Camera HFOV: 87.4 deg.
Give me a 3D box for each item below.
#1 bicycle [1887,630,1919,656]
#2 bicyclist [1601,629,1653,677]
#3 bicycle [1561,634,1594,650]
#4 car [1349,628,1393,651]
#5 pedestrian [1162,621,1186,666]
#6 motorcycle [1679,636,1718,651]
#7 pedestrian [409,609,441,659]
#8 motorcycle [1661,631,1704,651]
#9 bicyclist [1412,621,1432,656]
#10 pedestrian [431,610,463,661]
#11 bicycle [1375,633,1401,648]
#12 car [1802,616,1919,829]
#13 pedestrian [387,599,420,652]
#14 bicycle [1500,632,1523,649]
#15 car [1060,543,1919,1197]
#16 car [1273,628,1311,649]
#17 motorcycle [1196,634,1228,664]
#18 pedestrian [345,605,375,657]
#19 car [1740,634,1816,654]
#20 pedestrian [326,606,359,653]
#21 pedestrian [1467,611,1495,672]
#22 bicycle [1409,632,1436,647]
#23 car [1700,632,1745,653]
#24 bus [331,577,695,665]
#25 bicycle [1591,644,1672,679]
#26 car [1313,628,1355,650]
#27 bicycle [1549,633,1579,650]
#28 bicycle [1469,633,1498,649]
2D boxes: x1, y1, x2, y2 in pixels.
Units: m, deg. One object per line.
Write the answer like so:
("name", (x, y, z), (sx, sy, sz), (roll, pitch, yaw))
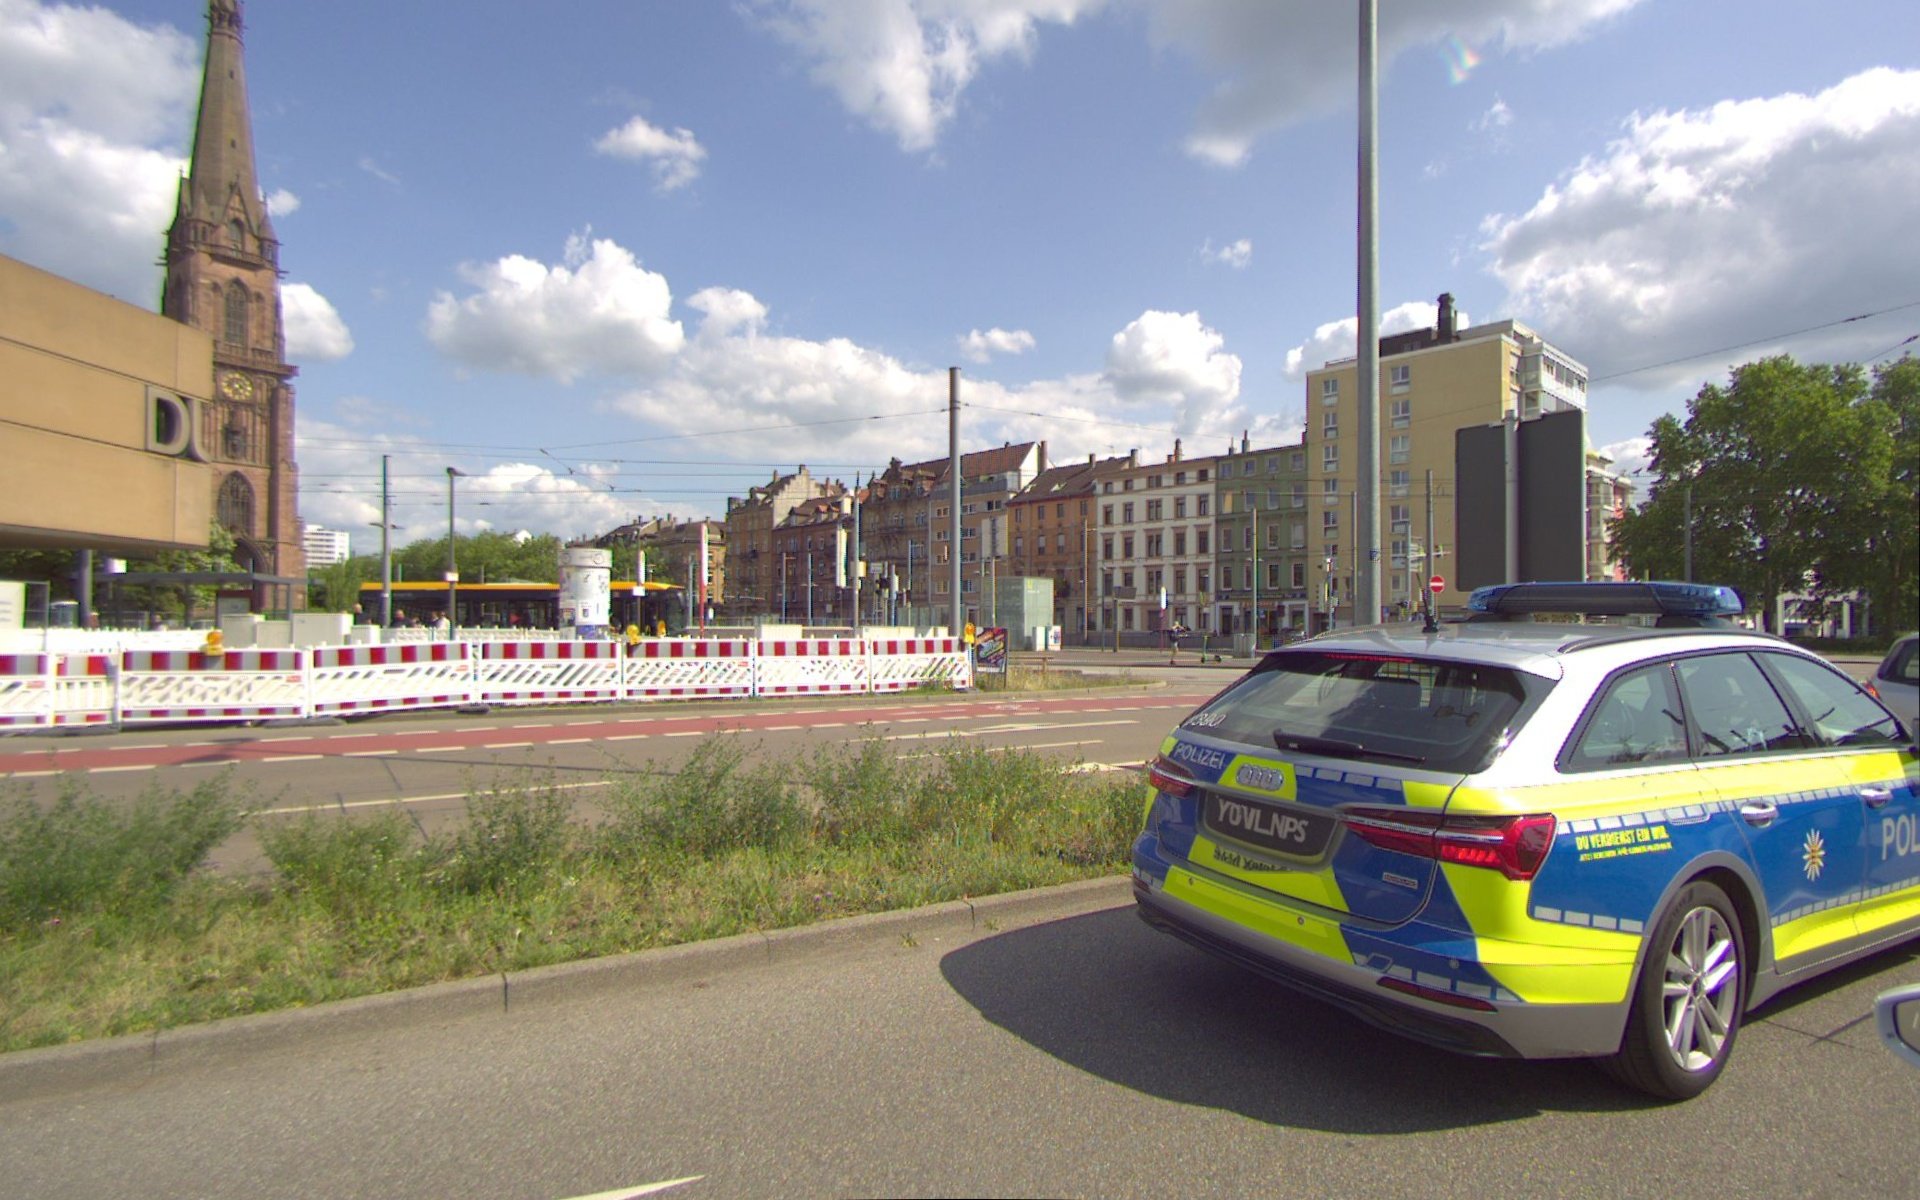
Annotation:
("bicycle", (54.444, 2.443, 57.383), (0.807, 1.433, 2.146), (0, 0, -44))
("bicyclist", (24.551, 1.944, 37.000), (0.984, 1.753, 1.290), (2, -2, -32))
("bicycle", (44.785, 3.027, 72.836), (1.922, 1.162, 0.792), (-1, -1, 43))
("car", (29.678, 2.863, 72.592), (1.861, 1.516, 3.903), (1, -2, 5))
("pedestrian", (8.979, 1.804, 42.076), (0.753, 1.821, 1.028), (2, 0, 23))
("motorcycle", (50.423, 2.972, 68.576), (2.003, 0.929, 0.812), (-1, -1, 7))
("pedestrian", (-18.139, 1.145, 34.059), (0.640, 1.653, 0.766), (1, -1, -3))
("motorcycle", (46.845, 2.661, 65.166), (0.890, 1.254, 2.214), (0, -1, -12))
("bicyclist", (24.481, 2.039, 53.257), (0.768, 1.821, 0.706), (2, 0, 42))
("pedestrian", (-16.988, 1.177, 33.272), (0.640, 1.653, 0.765), (1, -1, -4))
("bicycle", (33.770, 3.198, 79.242), (1.783, 1.118, 0.792), (0, -1, 42))
("car", (8.584, 0.902, 7.872), (3.953, 1.494, 1.839), (1, -2, -30))
("pedestrian", (-17.696, 0.802, 31.949), (0.760, 1.653, 0.645), (2, -1, -41))
("bicycle", (40.706, 2.976, 74.112), (1.791, 1.275, 0.789), (1, -1, -34))
("car", (2.825, 0.717, 4.450), (4.562, 1.589, 1.870), (1, -2, -31))
("car", (25.139, 2.912, 76.220), (1.861, 1.516, 3.902), (1, -2, 4))
("motorcycle", (10.617, 2.052, 42.341), (0.478, 1.253, 1.437), (2, -2, -27))
("pedestrian", (-19.222, 0.990, 32.210), (0.549, 1.651, 0.732), (1, -1, -7))
("car", (59.155, 3.167, 72.690), (1.615, 1.344, 3.967), (3, -3, -31))
("pedestrian", (-21.986, 1.050, 35.758), (0.751, 1.653, 0.652), (1, -1, -4))
("pedestrian", (16.953, 1.330, 32.665), (0.753, 1.928, 0.825), (2, 0, 29))
("bicycle", (35.632, 3.028, 77.378), (1.783, 1.118, 0.792), (0, -1, 42))
("car", (55.416, 3.110, 73.024), (3.970, 1.432, 1.888), (4, -4, -42))
("bus", (-16.828, 0.806, 38.386), (12.586, 3.177, 2.835), (0, -1, 0))
("bicycle", (24.620, 2.234, 36.882), (0.984, 1.204, 2.281), (2, -3, -32))
("car", (27.323, 2.848, 73.563), (1.861, 1.516, 3.902), (1, -2, 4))
("bicycle", (43.546, 2.973, 72.416), (1.784, 1.162, 0.792), (0, -1, 43))
("bicycle", (38.604, 3.011, 74.051), (1.783, 1.118, 0.792), (0, -1, 42))
